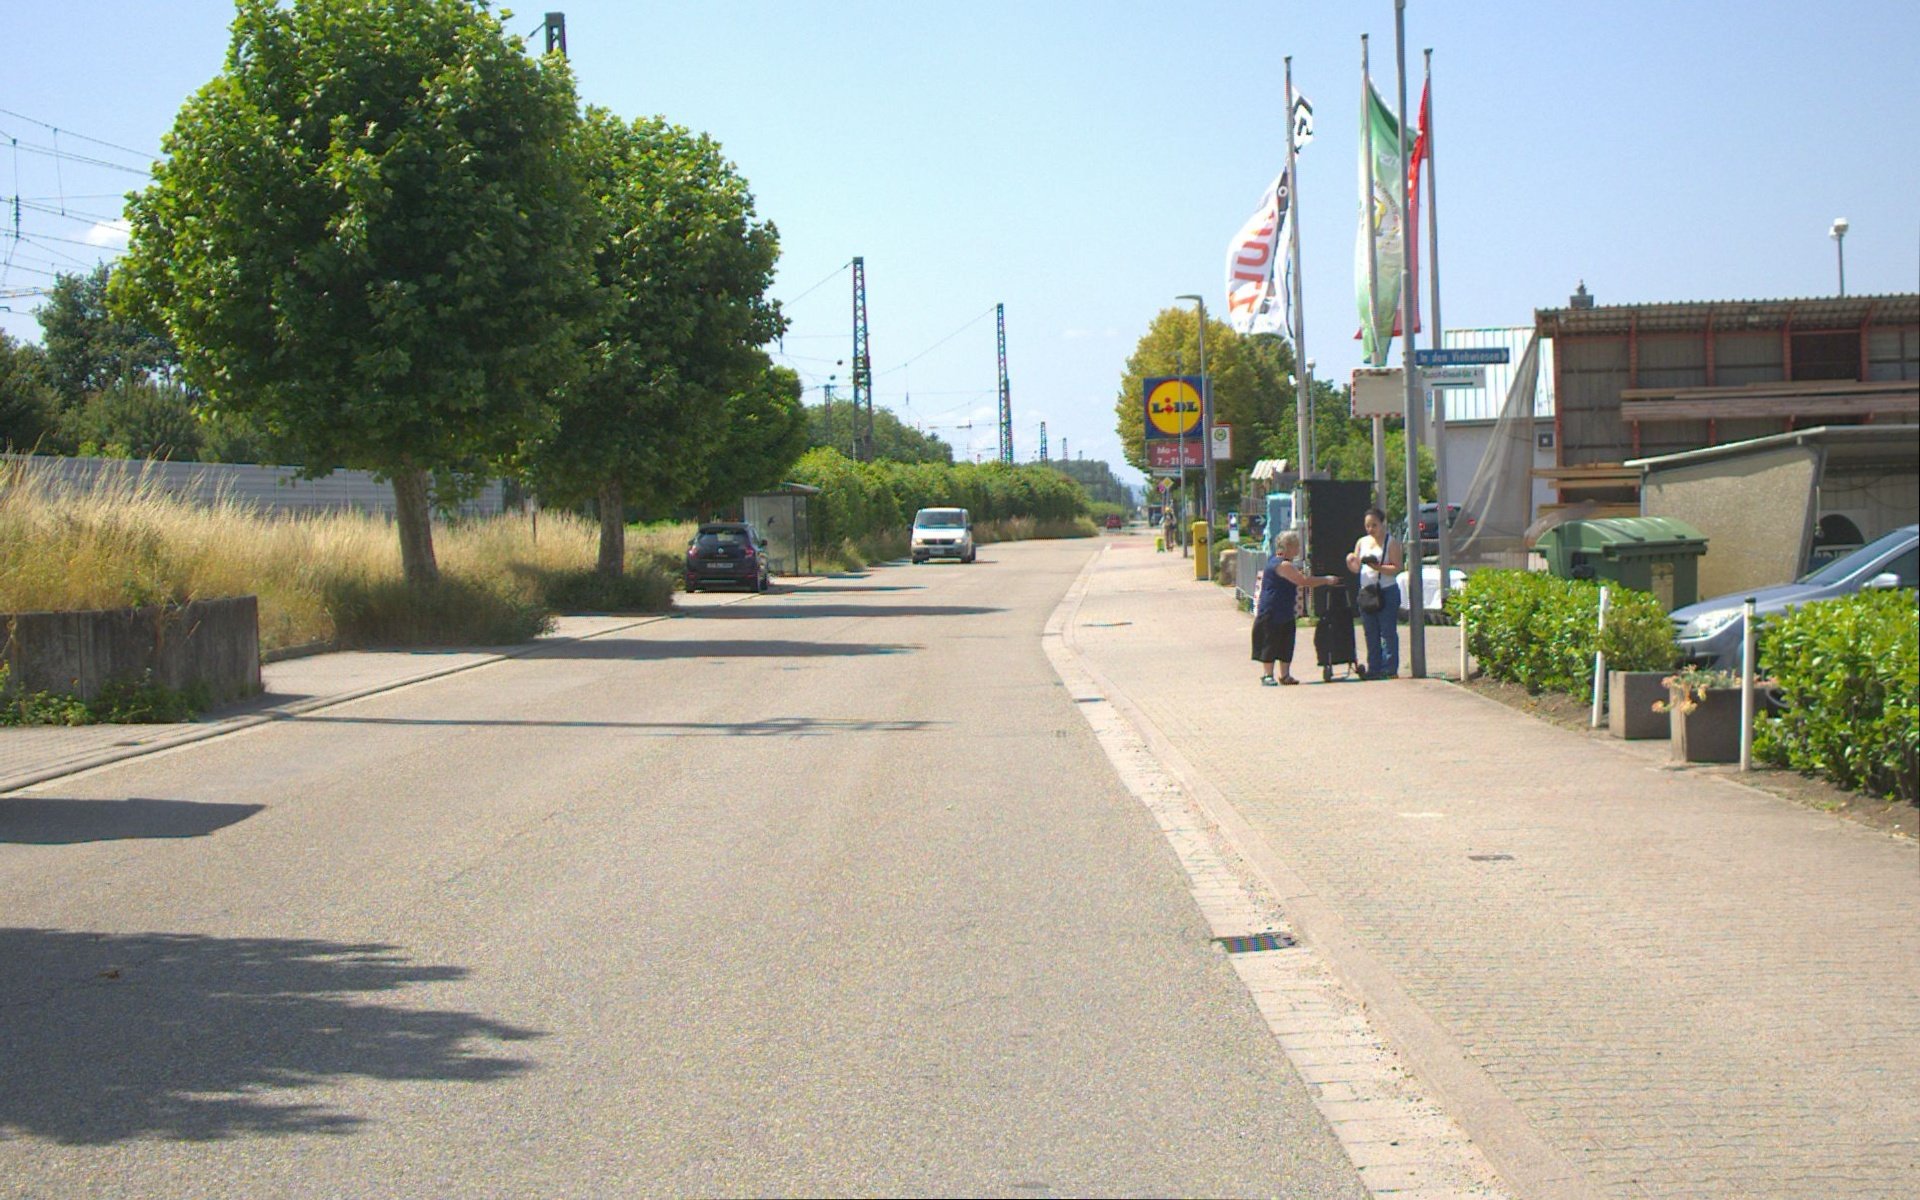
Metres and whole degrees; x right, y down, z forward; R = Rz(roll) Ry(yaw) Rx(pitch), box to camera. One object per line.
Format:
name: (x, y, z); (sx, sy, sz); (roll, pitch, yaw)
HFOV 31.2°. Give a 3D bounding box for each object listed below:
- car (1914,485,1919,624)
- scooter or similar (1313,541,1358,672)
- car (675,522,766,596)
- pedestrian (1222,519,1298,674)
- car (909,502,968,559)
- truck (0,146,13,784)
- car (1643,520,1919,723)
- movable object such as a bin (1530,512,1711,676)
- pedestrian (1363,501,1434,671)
car: (7.730, 0.055, 19.237); (4.212, 1.628, 1.801); (-2, -1, 0)
scooter or similar: (3.473, 0.062, 31.811); (0.334, 1.194, 0.398); (-2, -1, 2)
car: (-5.391, -0.945, 77.706); (1.741, 1.590, 3.580); (-1, 2, 1)
pedestrian: (2.780, -0.029, 31.885); (0.594, 1.400, 0.584); (-2, -1, 0)
car: (-0.703, -2.363, 115.871); (1.838, 1.851, 4.484); (-1, 2, 1)
truck: (-8.893, -0.761, 18.841); (6.613, 3.810, 2.664); (-1, 1, -1)
car: (7.259, 0.125, 25.989); (3.845, 1.450, 1.817); (-1, 1, 2)
movable object such as a bin: (6.042, -0.075, 31.455); (1.263, 1.453, 1.049); (-1, 2, -36)
pedestrian: (4.048, -0.125, 31.742); (0.535, 1.534, 0.511); (-2, -1, 0)
